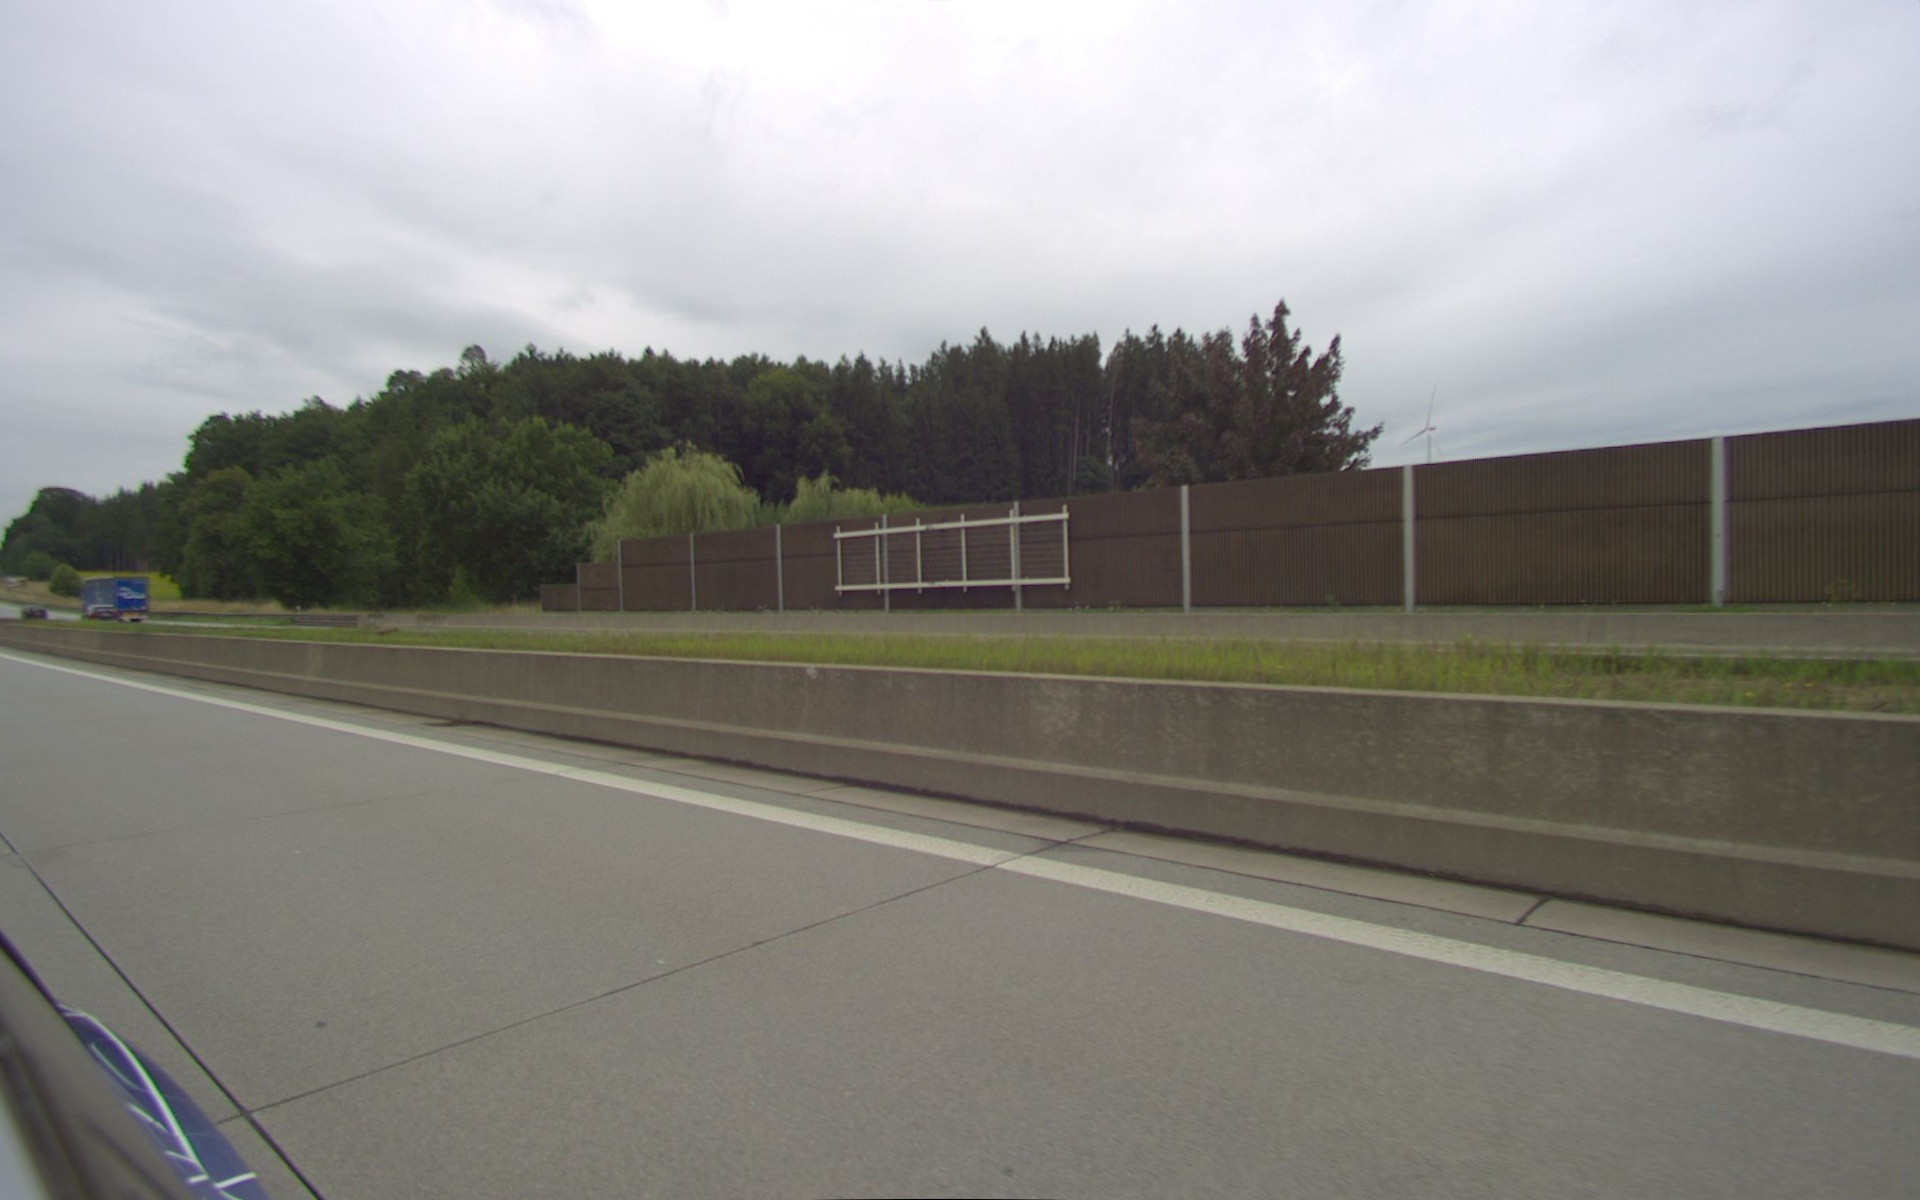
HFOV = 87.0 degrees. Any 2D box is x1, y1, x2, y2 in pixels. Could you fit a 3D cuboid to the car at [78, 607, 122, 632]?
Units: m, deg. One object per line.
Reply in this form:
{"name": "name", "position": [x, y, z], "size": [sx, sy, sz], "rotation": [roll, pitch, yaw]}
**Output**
{"name": "car", "position": [-65.219, 1.447, 76.703], "size": [4.729, 1.780, 1.798], "rotation": [0, 1, 40]}

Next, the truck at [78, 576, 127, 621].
{"name": "truck", "position": [-83.620, -0.179, 98.644], "size": [6.208, 4.220, 2.664], "rotation": [1, 2, 41]}

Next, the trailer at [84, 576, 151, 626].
{"name": "trailer", "position": [-78.510, -0.062, 94.153], "size": [13.788, 4.239, 2.682], "rotation": [2, 2, 41]}

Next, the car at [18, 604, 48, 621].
{"name": "car", "position": [-92.012, 1.227, 100.479], "size": [4.515, 1.511, 1.620], "rotation": [1, 2, 40]}
